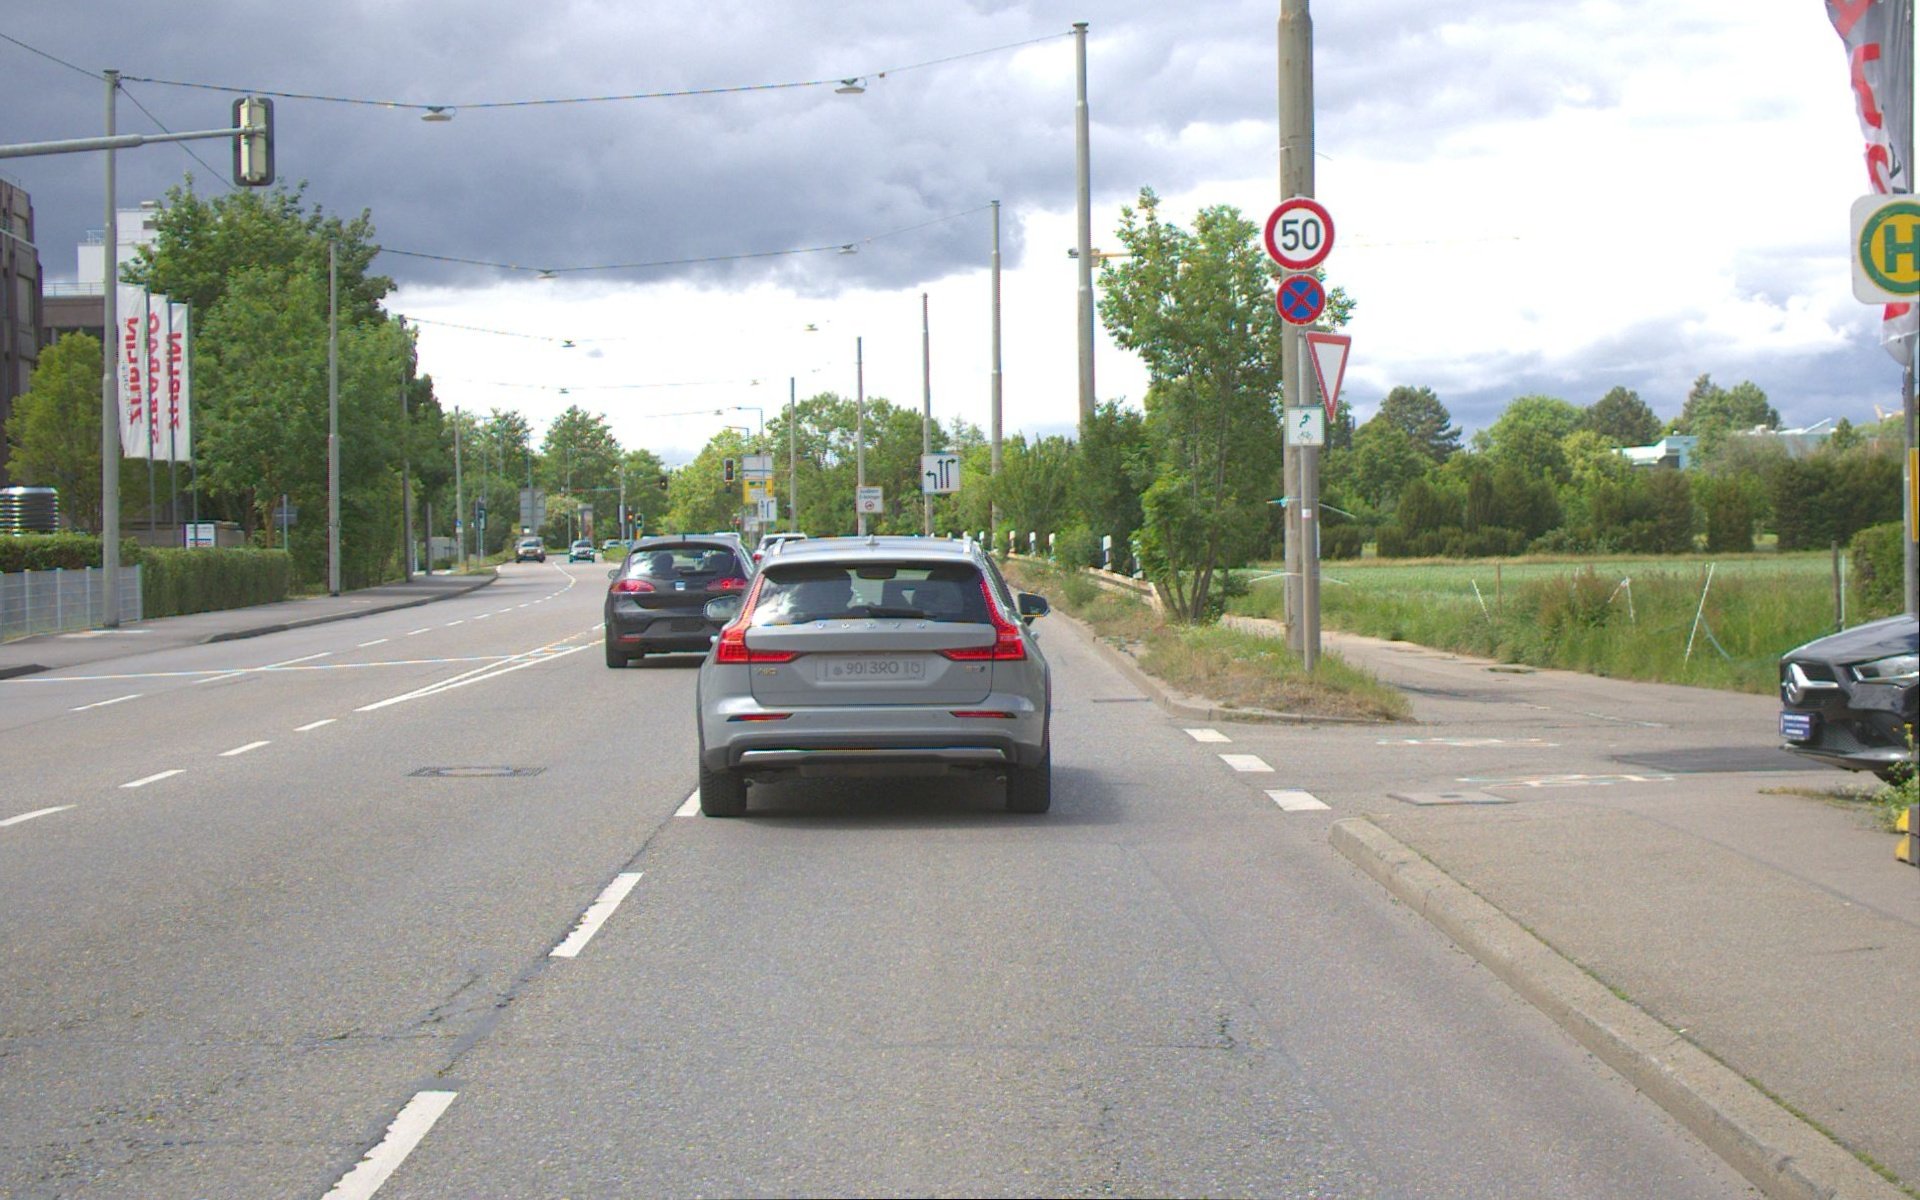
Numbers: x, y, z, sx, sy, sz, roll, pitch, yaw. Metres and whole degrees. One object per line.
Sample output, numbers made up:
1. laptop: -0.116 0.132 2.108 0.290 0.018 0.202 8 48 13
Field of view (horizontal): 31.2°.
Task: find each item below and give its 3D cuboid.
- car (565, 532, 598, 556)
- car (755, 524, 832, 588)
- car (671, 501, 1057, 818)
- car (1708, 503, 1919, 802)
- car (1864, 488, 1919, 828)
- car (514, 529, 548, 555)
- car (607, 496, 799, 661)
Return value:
1. car: -25.262 -3.741 229.499 1.881 1.515 4.000 1 0 -3
2. car: -4.537 -1.192 94.078 1.993 1.689 4.000 1 0 -2
3. car: -0.473 0.286 19.144 1.895 1.549 4.000 1 0 0
4. car: 6.155 0.287 17.202 4.321 1.394 2.004 1 -1 -3
5. car: 6.465 0.290 14.268 4.852 1.425 2.038 1 1 0
6. car: -28.715 -3.875 230.144 1.881 1.711 4.000 1 0 -3
7. car: -2.836 -0.242 38.460 1.993 1.711 4.000 1 0 -3
